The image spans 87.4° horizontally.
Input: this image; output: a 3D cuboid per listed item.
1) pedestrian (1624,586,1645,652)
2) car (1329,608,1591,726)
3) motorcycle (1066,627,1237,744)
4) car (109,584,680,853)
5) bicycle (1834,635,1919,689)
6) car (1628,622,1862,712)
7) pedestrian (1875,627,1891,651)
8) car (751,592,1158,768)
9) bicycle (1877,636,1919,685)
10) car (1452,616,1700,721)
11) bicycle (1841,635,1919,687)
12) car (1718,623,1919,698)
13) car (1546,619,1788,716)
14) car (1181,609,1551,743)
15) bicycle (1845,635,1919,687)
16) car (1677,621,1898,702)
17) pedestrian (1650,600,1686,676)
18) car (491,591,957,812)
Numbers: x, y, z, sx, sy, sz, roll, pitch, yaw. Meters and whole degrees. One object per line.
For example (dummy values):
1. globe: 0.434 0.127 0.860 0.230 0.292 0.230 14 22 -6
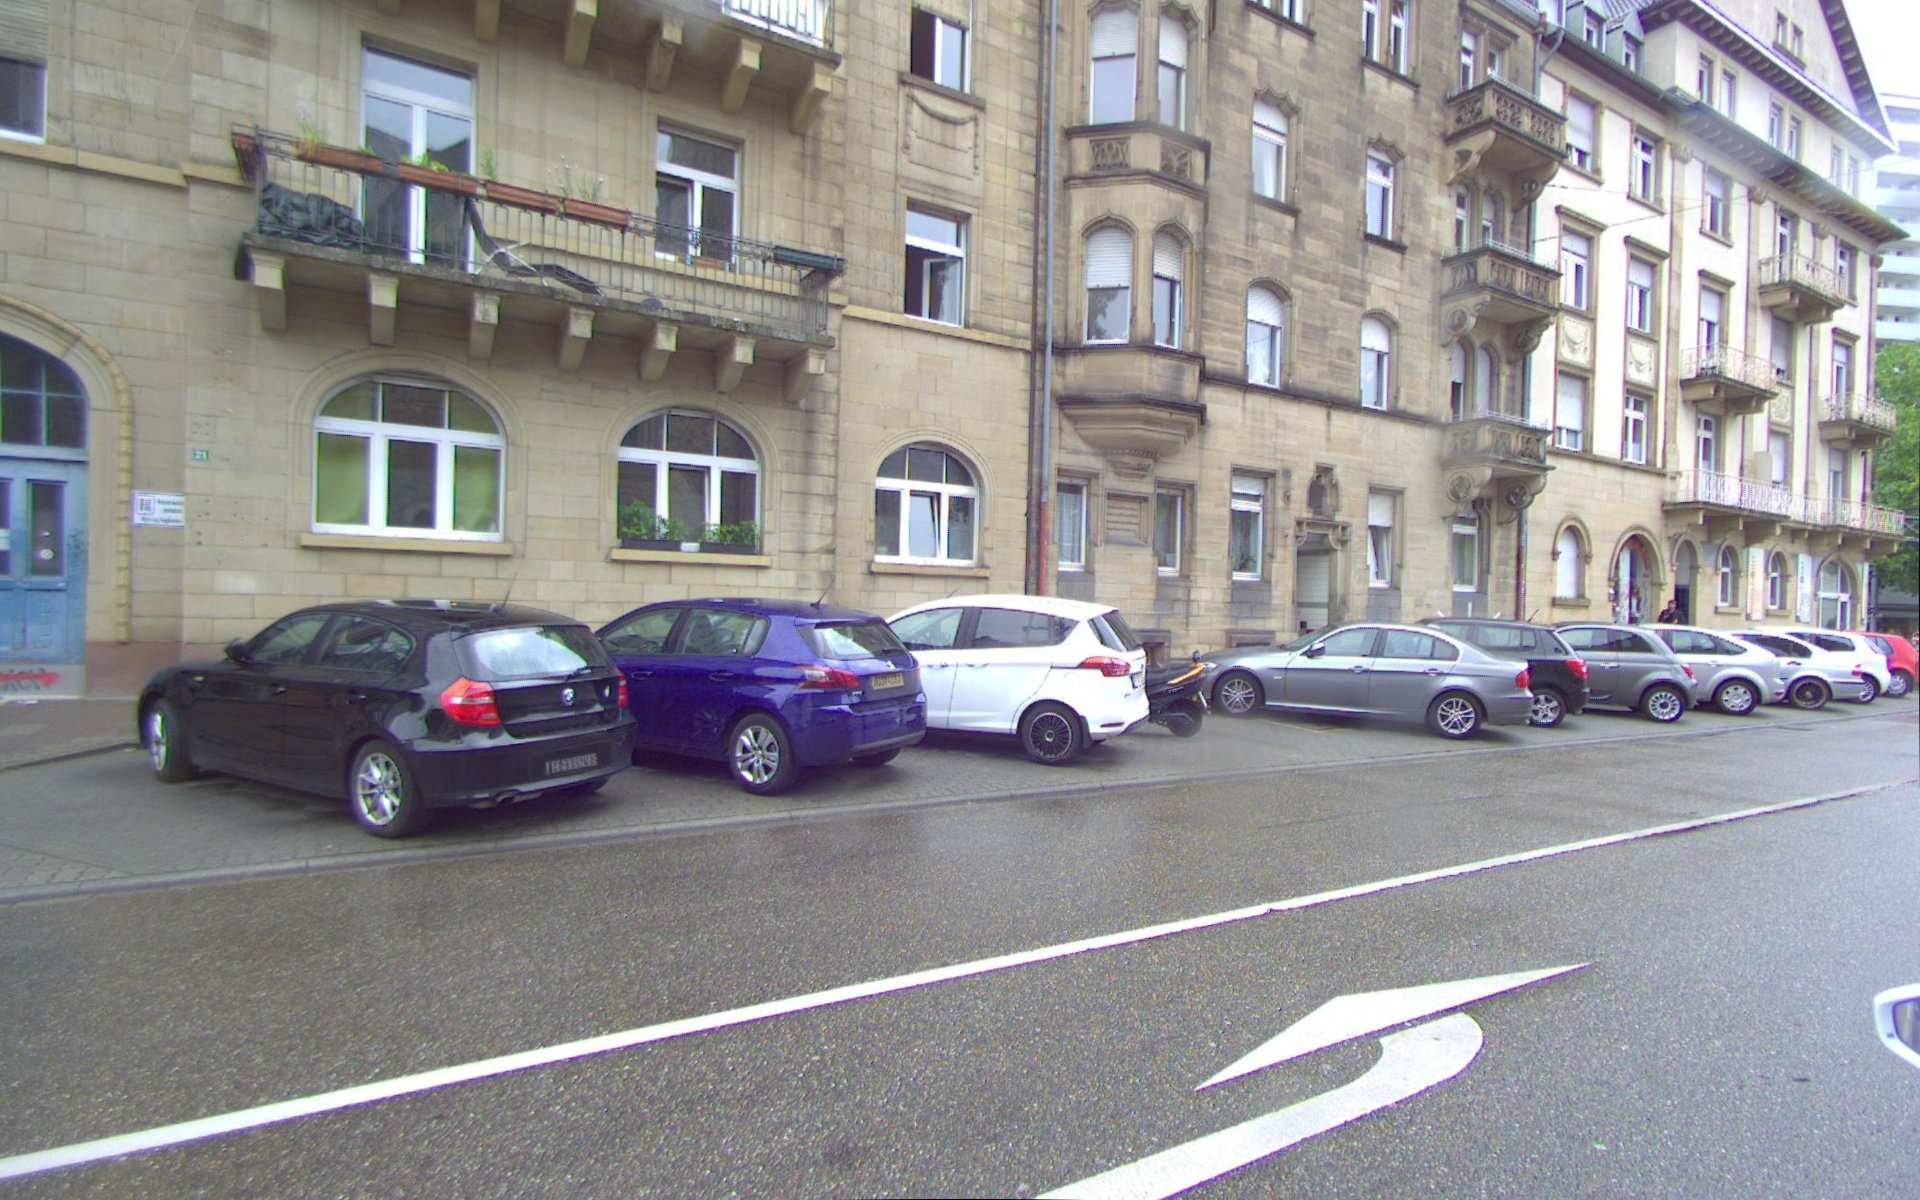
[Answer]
1. pedestrian: 19.154 0.548 28.528 0.343 1.846 0.364 2 -1 -32
2. car: 7.669 0.979 15.749 3.484 1.619 1.605 1 0 21
3. motorcycle: 2.260 0.974 11.869 1.837 1.177 0.633 3 1 23
4. car: -4.237 0.688 7.480 3.969 1.532 1.797 1 -1 27
5. bicycle: 23.497 1.554 25.608 0.516 1.283 1.754 1 -1 -31
6. car: 15.670 1.289 20.258 3.337 1.578 1.705 1 0 21
7. pedestrian: 60.528 2.551 65.872 0.632 1.550 0.442 1 0 -13
8. car: -0.018 0.747 10.741 3.964 1.576 1.799 1 -1 20
9. bicycle: 26.128 1.657 27.253 0.601 1.283 1.754 1 -1 -31
10. car: 10.363 1.102 17.178 3.337 1.578 1.652 1 0 21
11. bicycle: 23.953 1.559 25.901 0.492 1.283 1.801 1 -1 -31
12. car: 20.217 1.375 23.723 3.337 1.578 1.705 1 0 21
13. car: 12.962 1.190 18.658 3.337 1.578 1.705 1 0 21
14. car: 5.410 0.958 13.874 4.457 1.565 1.689 1 -1 17
15. bicycle: 24.469 1.583 26.361 0.492 1.283 1.801 1 -1 -31
16. car: 17.948 1.284 21.973 3.337 1.578 1.705 1 0 21
17. pedestrian: 19.476 1.038 27.627 0.647 2.040 0.565 1 0 -30
18. car: -2.197 0.746 9.095 3.972 1.594 1.795 1 -1 31
